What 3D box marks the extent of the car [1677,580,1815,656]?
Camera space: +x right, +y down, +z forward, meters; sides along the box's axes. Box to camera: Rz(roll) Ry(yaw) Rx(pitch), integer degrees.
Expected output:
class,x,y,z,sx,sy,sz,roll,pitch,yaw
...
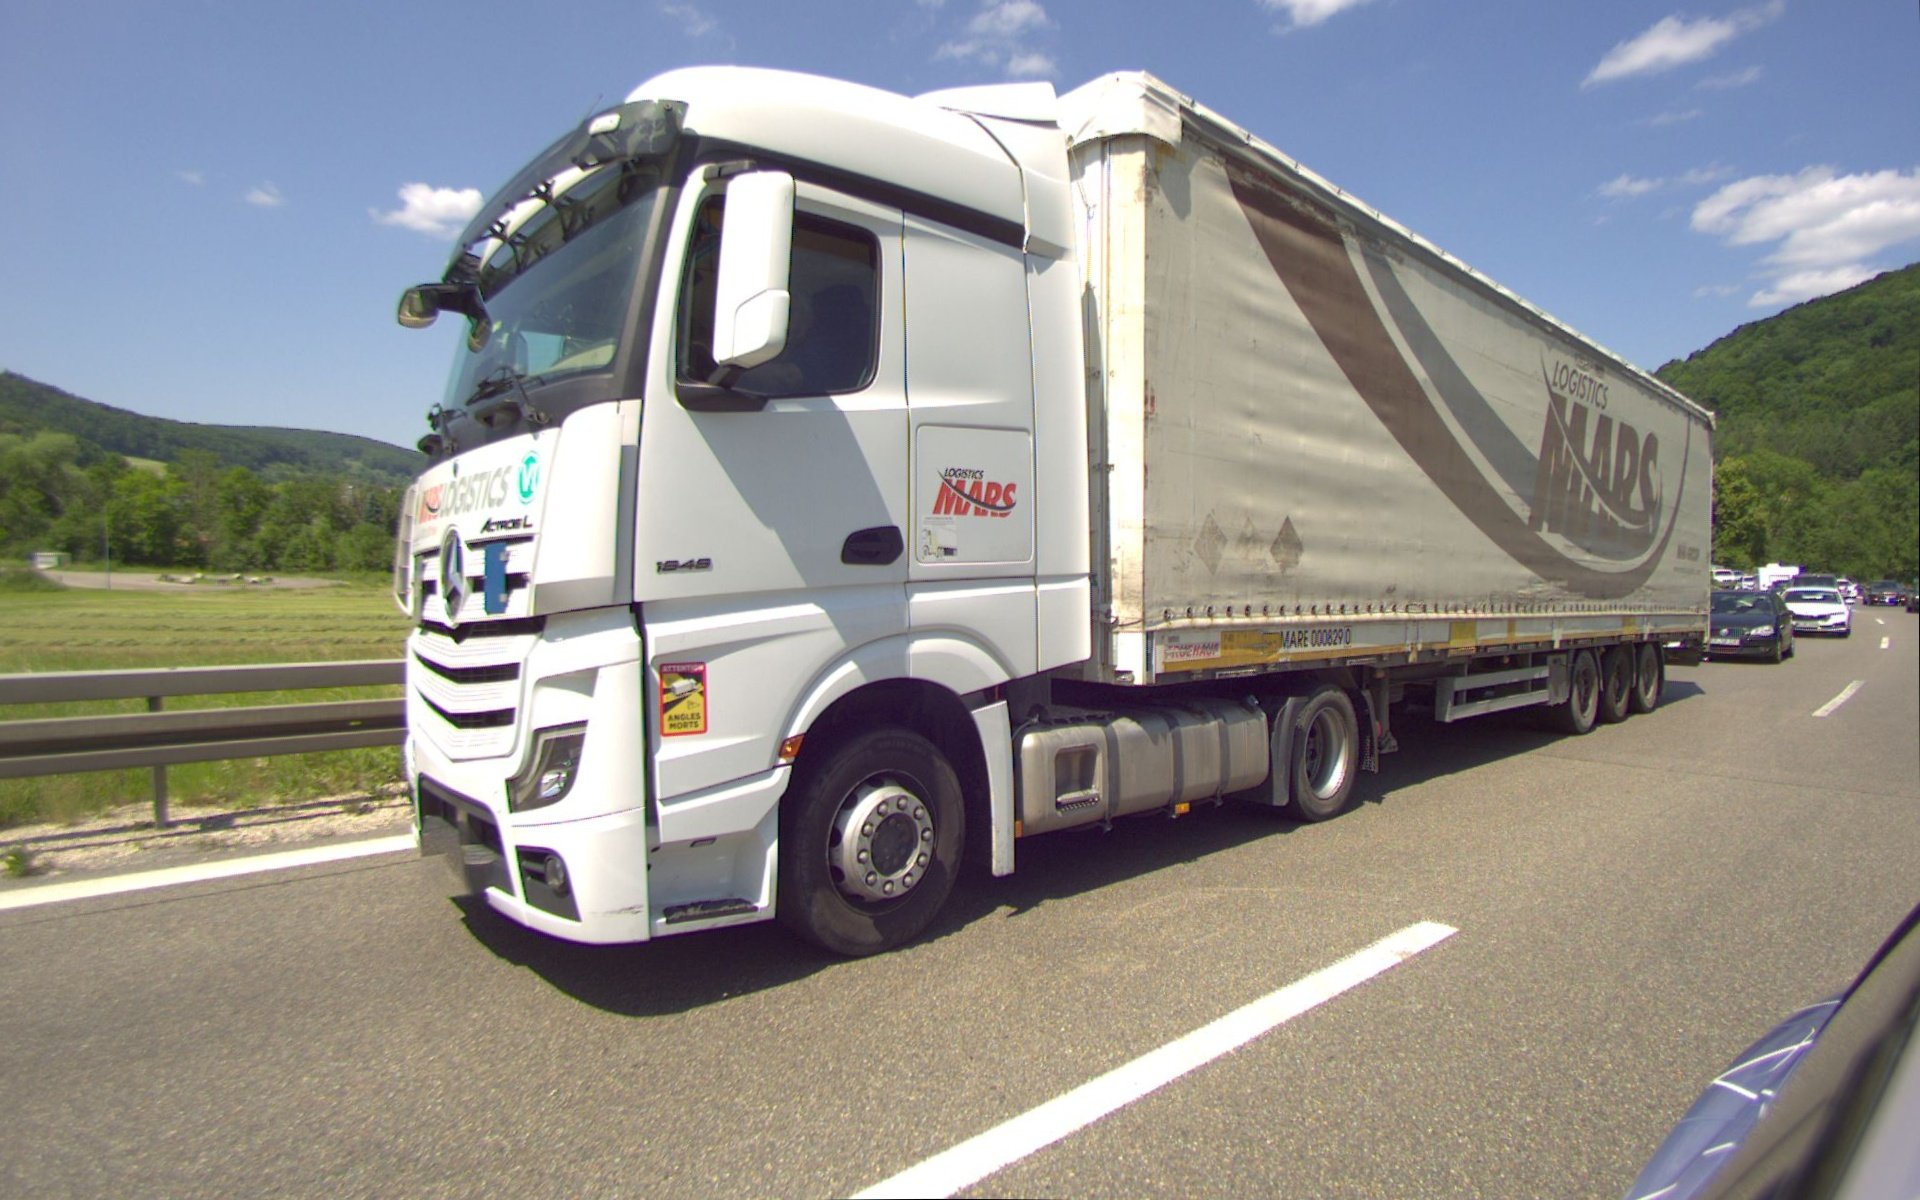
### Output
class,x,y,z,sx,sy,sz,roll,pitch,yaw
car,16.411,0.331,21.073,3.773,1.440,1.693,0,1,-43

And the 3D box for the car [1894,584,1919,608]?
class,x,y,z,sx,sy,sz,roll,pitch,yaw
car,47.212,-0.218,49.984,1.487,1.123,3.163,0,1,44

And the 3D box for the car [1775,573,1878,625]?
class,x,y,z,sx,sy,sz,roll,pitch,yaw
car,25.715,-0.050,29.999,3.659,1.448,1.905,0,1,-43

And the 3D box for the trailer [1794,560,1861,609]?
class,x,y,z,sx,sy,sz,roll,pitch,yaw
trailer,38.797,-0.707,45.216,1.994,1.993,3.938,5,4,43

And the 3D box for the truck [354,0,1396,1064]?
class,x,y,z,sx,sy,sz,roll,pitch,yaw
truck,-0.022,-0.737,5.953,5.658,4.118,2.722,-1,1,-43

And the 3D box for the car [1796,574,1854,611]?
class,x,y,z,sx,sy,sz,roll,pitch,yaw
car,36.240,-0.333,42.381,3.678,1.400,1.486,-1,3,-45

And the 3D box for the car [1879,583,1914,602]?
class,x,y,z,sx,sy,sz,roll,pitch,yaw
car,59.124,-0.483,63.927,1.486,1.123,3.166,0,1,41

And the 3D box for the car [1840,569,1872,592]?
class,x,y,z,sx,sy,sz,roll,pitch,yaw
car,68.389,-1.477,77.238,1.523,1.658,3.372,-2,-1,37

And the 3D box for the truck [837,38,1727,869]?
class,x,y,z,sx,sy,sz,roll,pitch,yaw
truck,4.979,-0.837,10.666,13.511,4.118,2.729,-1,1,-43

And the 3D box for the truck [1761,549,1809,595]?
class,x,y,z,sx,sy,sz,roll,pitch,yaw
truck,61.446,-2.014,75.483,2.591,3.147,6.762,-2,-1,39

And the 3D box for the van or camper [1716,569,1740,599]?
class,x,y,z,sx,sy,sz,roll,pitch,yaw
van or camper,81.367,-1.696,107.223,1.900,3.065,4.809,1,1,37

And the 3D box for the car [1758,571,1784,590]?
class,x,y,z,sx,sy,sz,roll,pitch,yaw
car,72.656,-1.719,90.639,1.692,1.552,3.627,-2,-1,40
